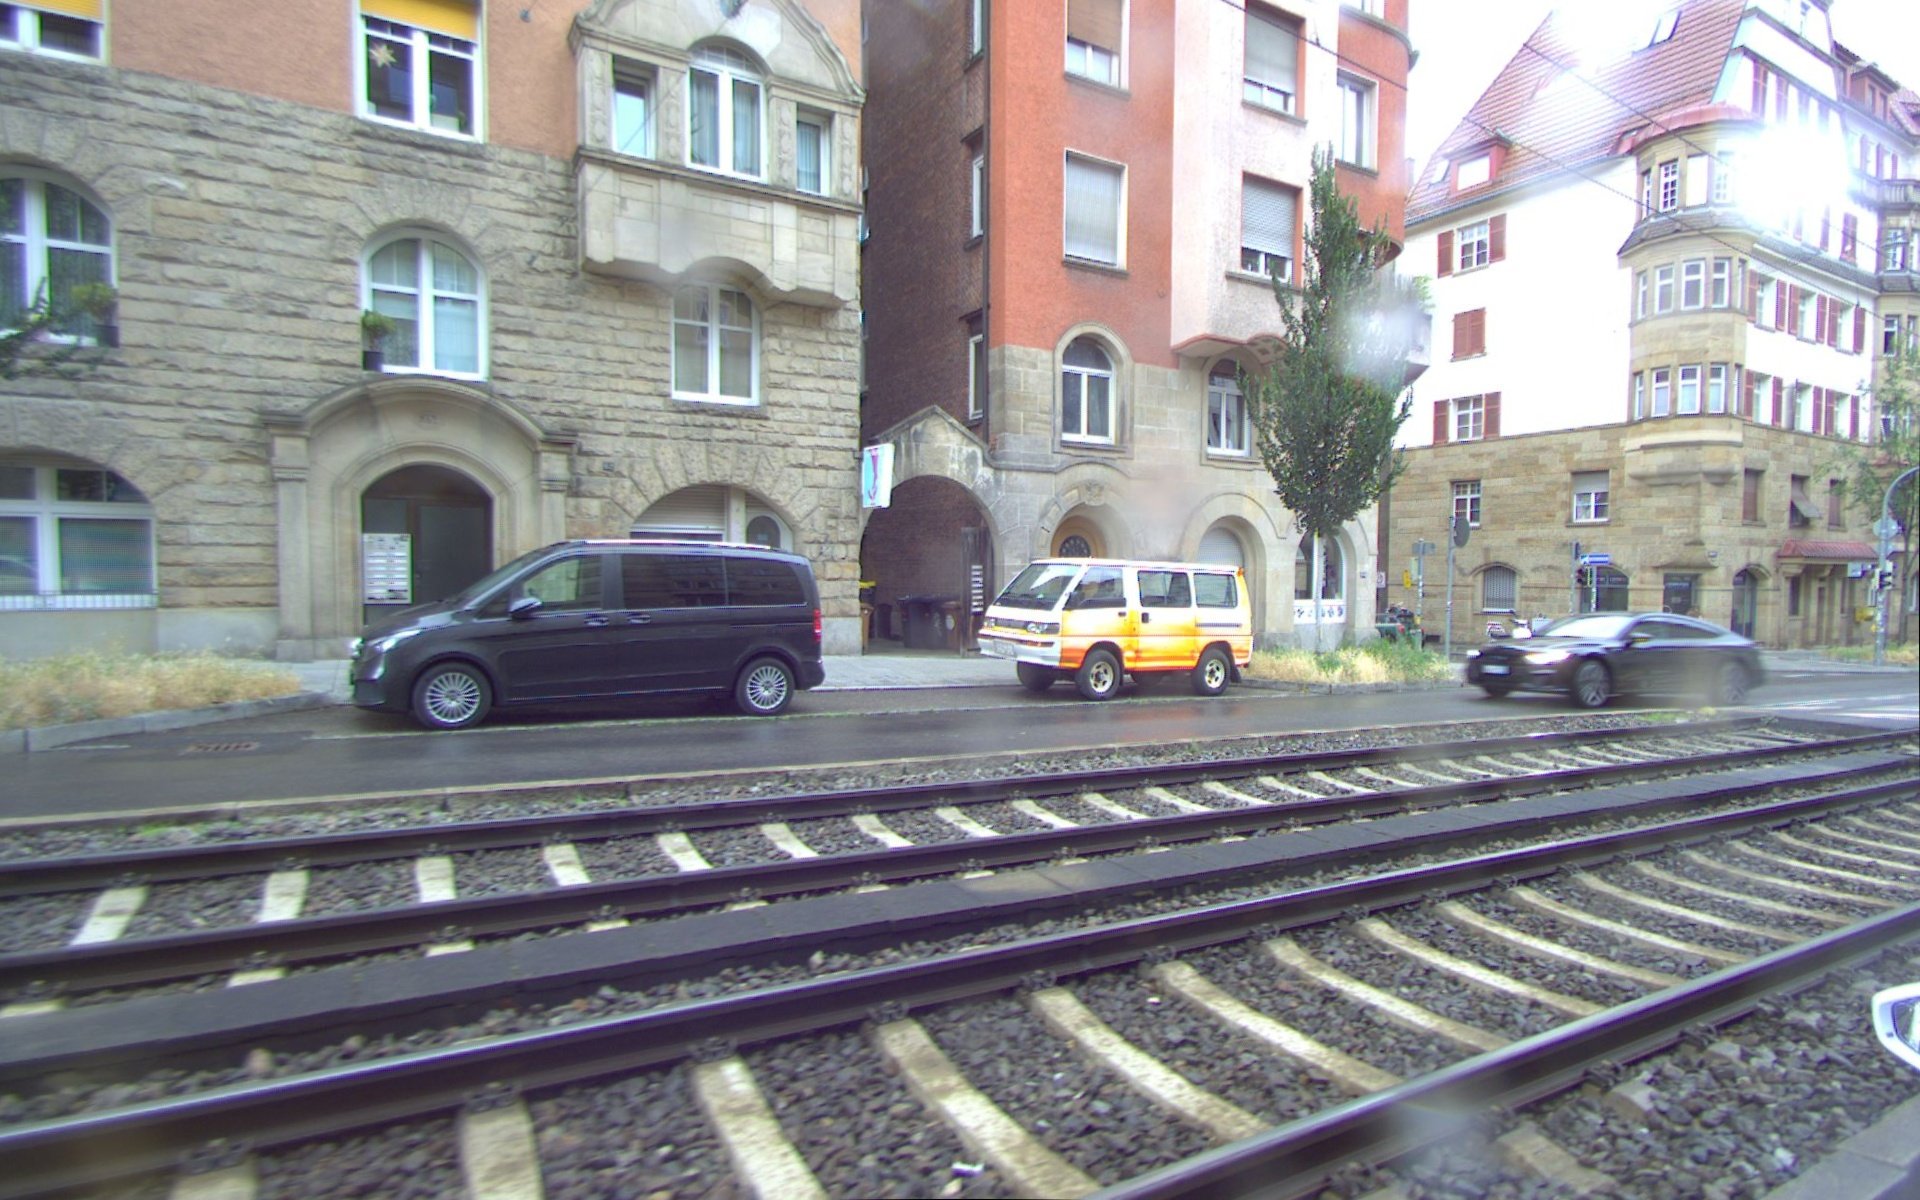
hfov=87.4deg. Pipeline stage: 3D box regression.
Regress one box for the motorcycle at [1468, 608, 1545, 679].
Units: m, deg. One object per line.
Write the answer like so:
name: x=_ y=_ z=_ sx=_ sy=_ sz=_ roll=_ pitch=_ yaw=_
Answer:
motorcycle: x=11.199 y=0.866 z=20.642 sx=0.612 sy=1.384 sz=1.596 roll=2 pitch=0 yaw=-3

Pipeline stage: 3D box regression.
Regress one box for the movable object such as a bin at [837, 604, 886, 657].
movable object such as a bin: x=-1.799 y=0.547 z=18.237 sx=0.627 sy=0.918 sz=0.793 roll=1 pitch=1 yaw=-27

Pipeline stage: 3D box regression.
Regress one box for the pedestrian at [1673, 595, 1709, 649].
pedestrian: x=23.679 y=0.704 z=32.537 sx=0.688 sy=1.695 sz=0.633 roll=2 pitch=0 yaw=9

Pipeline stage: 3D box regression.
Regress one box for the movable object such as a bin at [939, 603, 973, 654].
movable object such as a bin: x=-0.080 y=0.541 z=19.277 sx=0.442 sy=0.957 sz=0.557 roll=1 pitch=-1 yaw=-27

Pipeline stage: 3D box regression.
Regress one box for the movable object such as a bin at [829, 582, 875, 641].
movable object such as a bin: x=-2.516 y=0.264 z=23.303 sx=0.676 sy=1.324 sz=1.154 roll=1 pitch=1 yaw=-26

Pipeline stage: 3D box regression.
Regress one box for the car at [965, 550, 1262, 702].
car: x=2.367 y=0.402 z=15.084 sx=4.295 sy=2.001 sz=1.721 roll=2 pitch=0 yaw=-32

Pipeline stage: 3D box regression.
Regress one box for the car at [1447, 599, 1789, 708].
car: x=10.469 y=0.832 z=16.021 sx=4.883 sy=1.544 sz=1.803 roll=1 pitch=0 yaw=-16

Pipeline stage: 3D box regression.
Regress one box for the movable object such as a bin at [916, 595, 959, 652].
movable object such as a bin: x=-0.452 y=0.466 z=19.785 sx=0.607 sy=1.090 sz=0.679 roll=1 pitch=-1 yaw=-27

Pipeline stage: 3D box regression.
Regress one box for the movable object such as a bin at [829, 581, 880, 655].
movable object such as a bin: x=-2.013 y=0.326 z=19.110 sx=0.648 sy=1.360 sz=0.903 roll=1 pitch=1 yaw=-27

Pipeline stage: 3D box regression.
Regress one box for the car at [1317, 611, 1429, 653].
car: x=15.561 y=1.202 z=37.983 sx=1.683 sy=1.423 sz=3.618 roll=2 pitch=0 yaw=-34

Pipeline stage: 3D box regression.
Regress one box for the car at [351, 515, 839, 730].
car: x=-3.960 y=0.270 z=11.242 sx=4.769 sy=1.968 sz=1.984 roll=2 pitch=0 yaw=-30

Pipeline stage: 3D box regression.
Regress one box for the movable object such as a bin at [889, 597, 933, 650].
movable object such as a bin: x=-0.990 y=0.471 z=20.332 sx=0.607 sy=1.052 sz=0.793 roll=1 pitch=-1 yaw=-27
